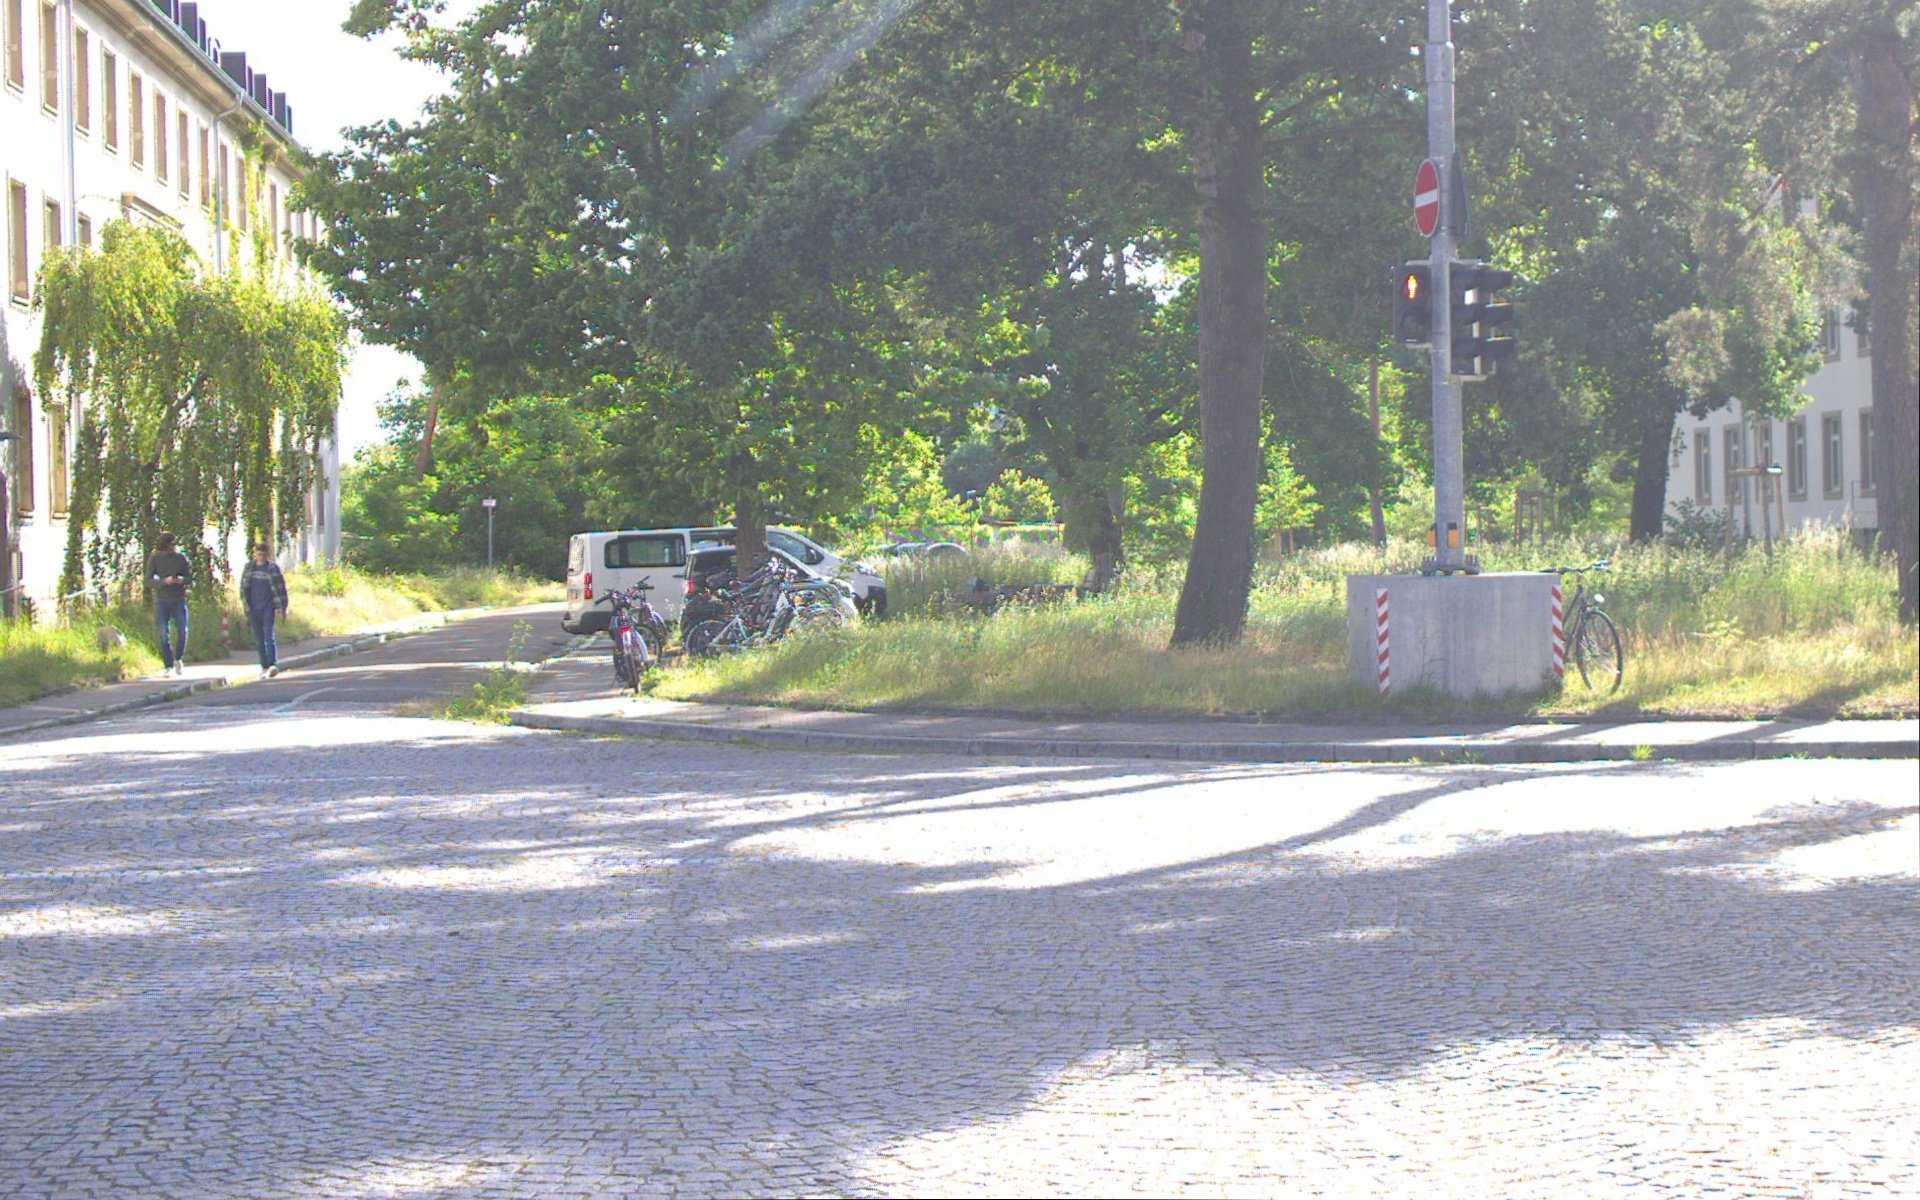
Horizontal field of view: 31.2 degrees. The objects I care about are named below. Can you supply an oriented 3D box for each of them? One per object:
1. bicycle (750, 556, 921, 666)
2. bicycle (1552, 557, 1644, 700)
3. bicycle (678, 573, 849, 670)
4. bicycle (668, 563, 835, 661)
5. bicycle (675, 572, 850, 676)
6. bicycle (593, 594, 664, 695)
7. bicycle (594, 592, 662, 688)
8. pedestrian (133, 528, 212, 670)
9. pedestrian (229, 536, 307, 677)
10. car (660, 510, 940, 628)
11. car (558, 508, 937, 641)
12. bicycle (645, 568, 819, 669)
[{"bbox_3d":[-1.451,0.123,40.022,1.940,1.231,0.485,-1,1,-6],"label":"bicycle"},{"bbox_3d":[4.953,0.212,26.740,0.466,1.076,1.174,-1,0,0],"label":"bicycle"},{"bbox_3d":[-2.205,0.234,38.480,1.854,1.027,0.750,-1,1,-6],"label":"bicycle"},{"bbox_3d":[-2.525,0.139,41.574,1.940,1.125,0.648,-1,1,-9],"label":"bicycle"},{"bbox_3d":[-2.264,0.264,39.275,1.940,1.125,0.750,-1,1,-6],"label":"bicycle"},{"bbox_3d":[-3.374,0.439,34.932,0.695,0.968,1.861,-1,1,-6],"label":"bicycle"},{"bbox_3d":[-3.564,0.412,36.852,0.695,0.968,1.861,-1,1,-6],"label":"bicycle"},{"bbox_3d":[-10.165,-0.019,44.412,0.812,1.811,0.555,-1,1,7],"label":"pedestrian"},{"bbox_3d":[-9.001,0.079,44.730,0.767,1.811,0.682,-1,1,7],"label":"pedestrian"},{"bbox_3d":[-2.456,-0.479,52.221,3.986,1.678,1.848,-1,1,-11],"label":"car"},{"bbox_3d":[-3.532,-0.434,56.571,5.929,2.007,2.476,-1,1,-10],"label":"car"},{"bbox_3d":[-2.675,0.206,40.468,1.941,1.125,0.648,-2,1,-30],"label":"bicycle"}]
